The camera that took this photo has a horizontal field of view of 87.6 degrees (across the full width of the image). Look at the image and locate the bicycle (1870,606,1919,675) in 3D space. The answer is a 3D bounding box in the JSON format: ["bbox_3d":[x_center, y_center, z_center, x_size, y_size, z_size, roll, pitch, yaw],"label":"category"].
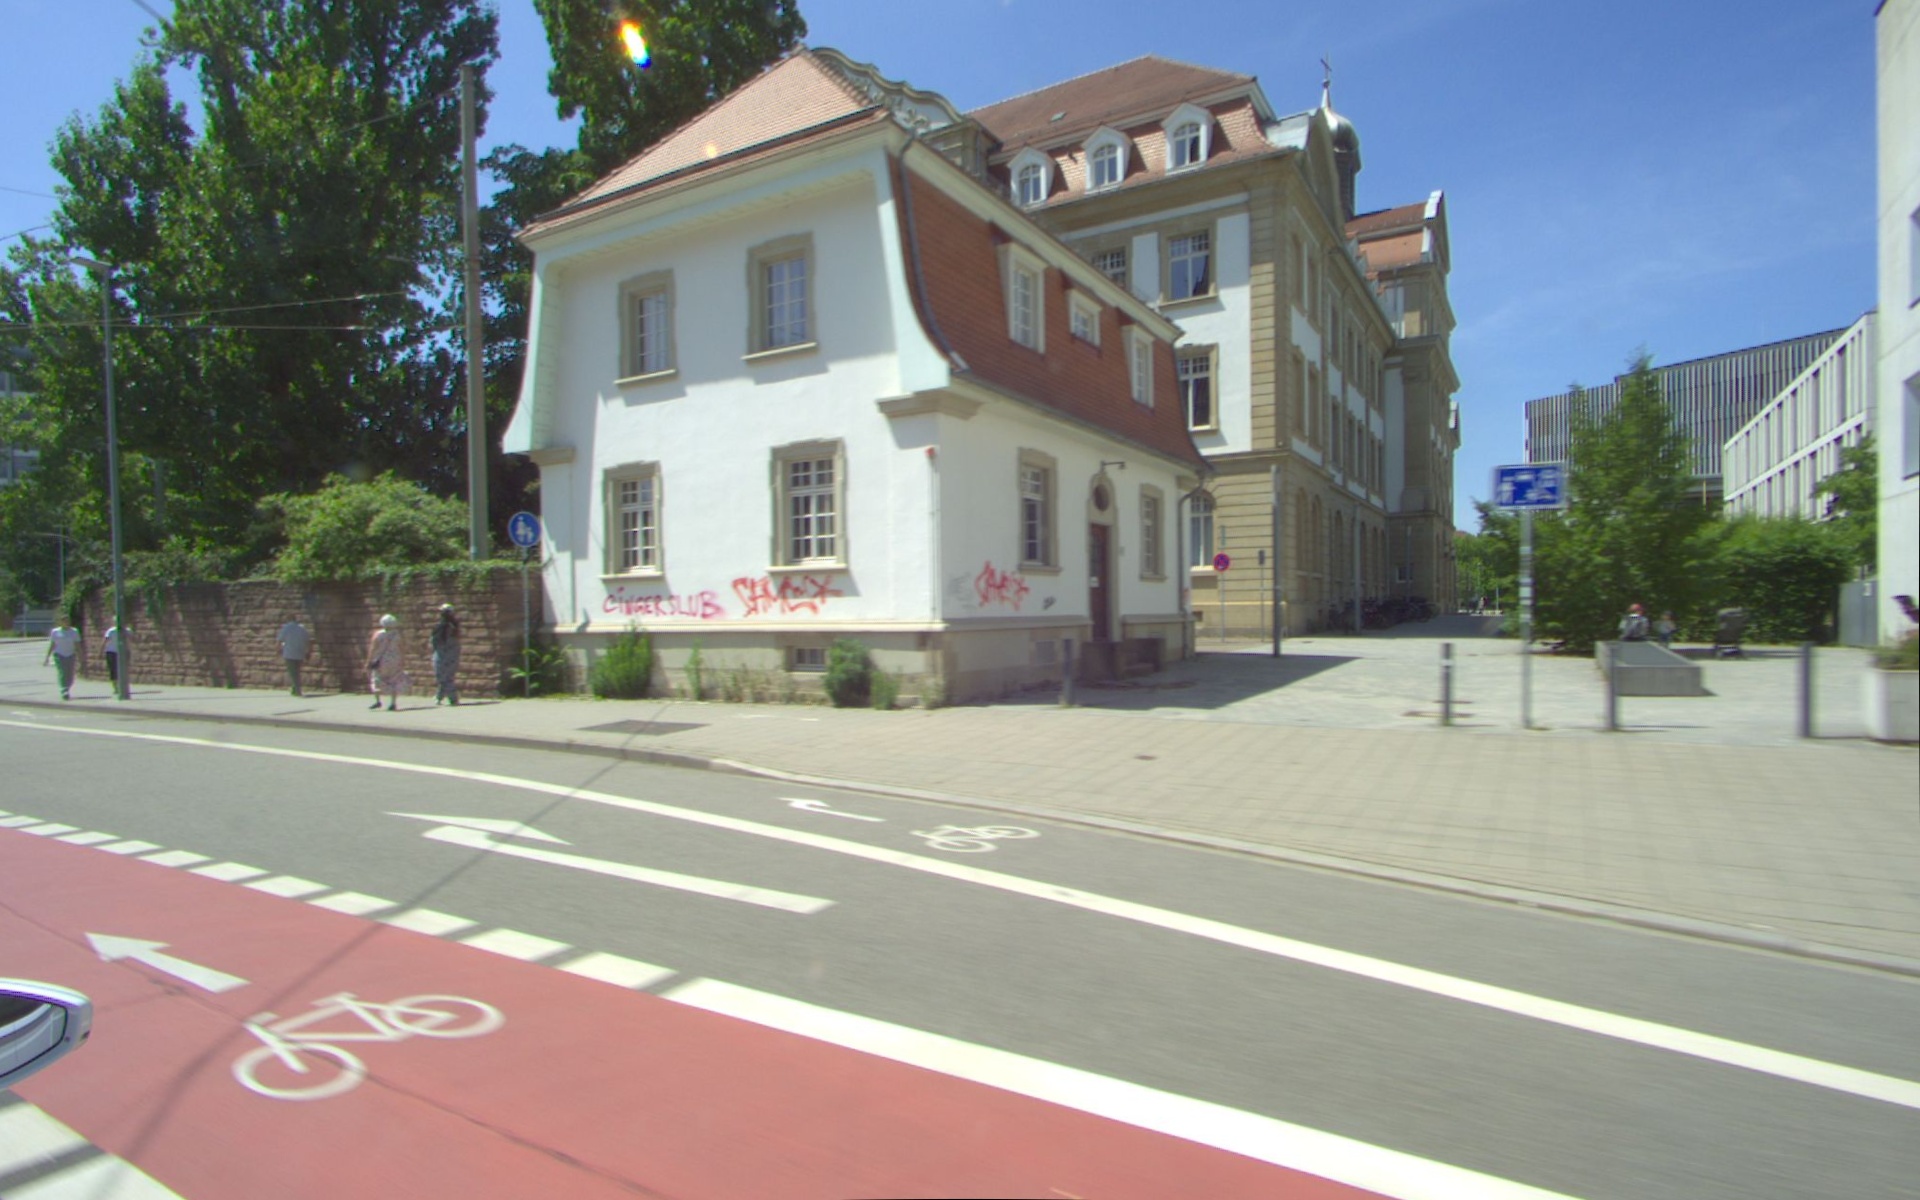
[{"bbox_3d":[16.334,0.650,16.464,1.900,1.130,0.650,-1,0,25],"label":"bicycle"}]

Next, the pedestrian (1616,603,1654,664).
[{"bbox_3d":[14.496,0.717,21.497,0.626,1.265,0.643,-2,-1,36],"label":"pedestrian"}]

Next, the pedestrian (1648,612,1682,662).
[{"bbox_3d":[15.288,0.793,21.710,0.508,1.057,0.466,-1,-1,-40],"label":"pedestrian"}]

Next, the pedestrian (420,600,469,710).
[{"bbox_3d":[-8.726,0.946,16.976,0.618,1.793,0.718,1,-6,-22],"label":"pedestrian"}]

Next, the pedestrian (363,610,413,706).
[{"bbox_3d":[-9.518,0.952,16.667,0.590,1.553,0.514,0,1,36],"label":"pedestrian"}]

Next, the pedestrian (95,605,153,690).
[{"bbox_3d":[-18.405,1.029,22.058,0.691,1.832,0.811,0,1,35],"label":"pedestrian"}]

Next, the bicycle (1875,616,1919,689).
[{"bbox_3d":[14.208,0.719,13.861,2.165,0.998,0.650,-1,0,25],"label":"bicycle"}]

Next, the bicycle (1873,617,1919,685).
[{"bbox_3d":[14.955,0.736,14.701,2.165,0.998,0.650,-1,0,25],"label":"bicycle"}]

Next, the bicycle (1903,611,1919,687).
[{"bbox_3d":[13.892,0.636,13.085,2.165,1.017,0.650,-1,0,25],"label":"bicycle"}]

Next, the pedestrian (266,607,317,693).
[{"bbox_3d":[-13.296,0.985,19.924,0.616,1.669,0.658,0,1,36],"label":"pedestrian"}]

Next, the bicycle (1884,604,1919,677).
[{"bbox_3d":[15.965,0.623,15.834,1.858,1.146,0.650,-1,0,25],"label":"bicycle"}]

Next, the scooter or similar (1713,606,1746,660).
[{"bbox_3d":[16.092,0.687,20.951,0.519,1.098,0.573,-2,-1,36],"label":"scooter or similar"}]

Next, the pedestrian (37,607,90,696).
[{"bbox_3d":[-18.930,1.063,21.148,0.738,1.832,0.675,0,1,35],"label":"pedestrian"}]
